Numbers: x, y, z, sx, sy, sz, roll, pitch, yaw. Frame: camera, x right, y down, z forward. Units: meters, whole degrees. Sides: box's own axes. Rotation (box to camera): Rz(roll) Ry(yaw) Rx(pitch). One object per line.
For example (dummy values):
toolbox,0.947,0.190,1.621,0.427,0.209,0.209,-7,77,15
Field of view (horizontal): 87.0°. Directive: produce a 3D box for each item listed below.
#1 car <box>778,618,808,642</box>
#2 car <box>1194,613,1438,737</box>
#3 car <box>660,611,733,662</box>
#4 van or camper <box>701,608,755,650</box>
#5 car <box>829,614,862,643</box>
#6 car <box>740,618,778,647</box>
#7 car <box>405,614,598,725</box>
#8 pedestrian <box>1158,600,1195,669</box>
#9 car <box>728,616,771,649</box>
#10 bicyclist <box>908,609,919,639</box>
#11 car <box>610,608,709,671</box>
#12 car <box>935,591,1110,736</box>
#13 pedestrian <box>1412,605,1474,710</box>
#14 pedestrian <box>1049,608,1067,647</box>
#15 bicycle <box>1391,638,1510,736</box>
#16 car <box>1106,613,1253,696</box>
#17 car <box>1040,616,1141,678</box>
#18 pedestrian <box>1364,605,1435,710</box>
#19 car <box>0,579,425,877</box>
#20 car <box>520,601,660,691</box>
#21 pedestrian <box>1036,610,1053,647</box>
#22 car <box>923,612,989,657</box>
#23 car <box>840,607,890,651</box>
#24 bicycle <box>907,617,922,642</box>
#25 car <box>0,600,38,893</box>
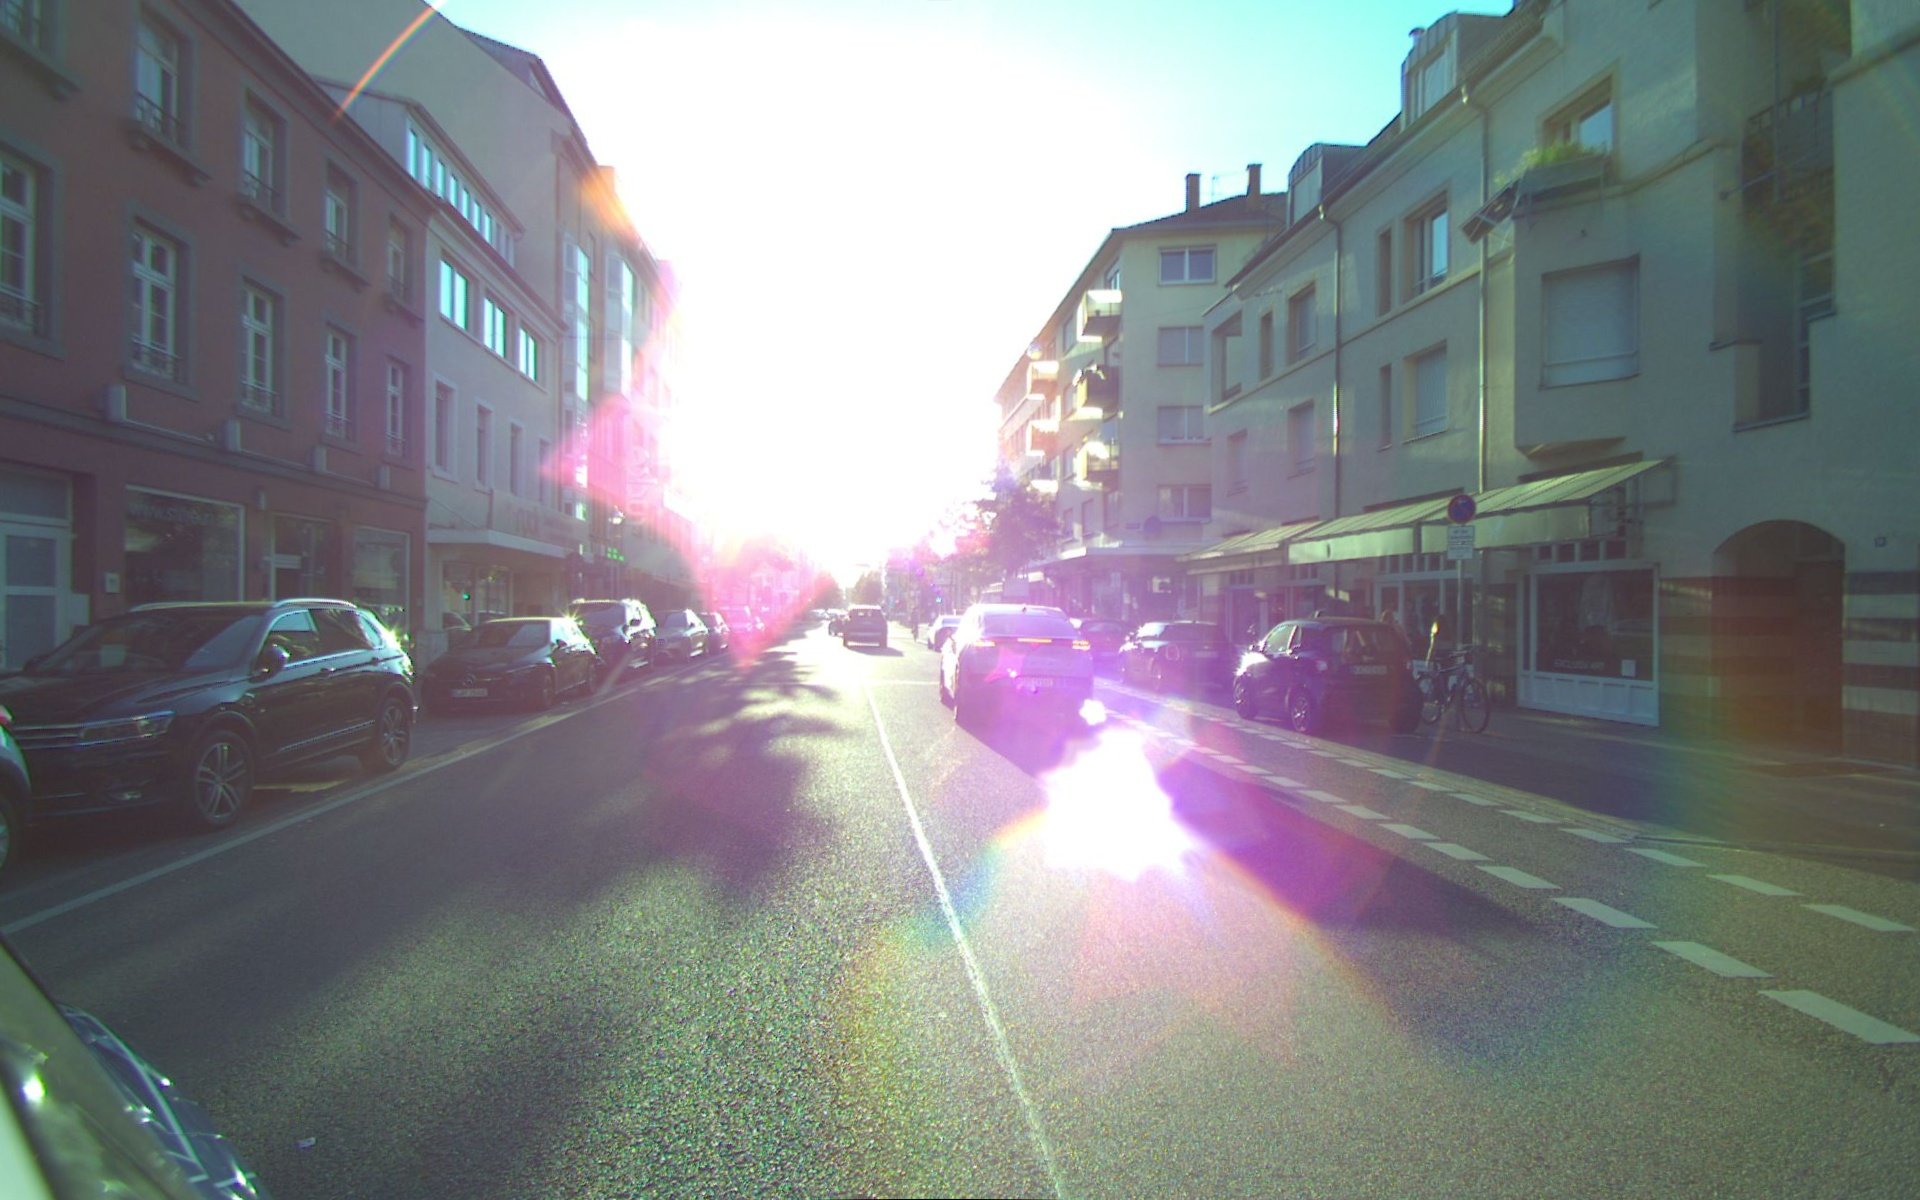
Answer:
car,-11.169,1.998,67.844,1.669,1.514,3.791,1,-1,-5
car,5.115,1.005,15.165,1.766,1.592,3.974,1,-1,-9
car,-9.227,1.246,35.737,1.968,1.667,4.487,1,-1,-8
van or camper,-10.291,1.249,45.164,1.766,1.787,4.563,1,-1,-5
car,-7.289,1.772,64.259,1.814,1.661,4.309,2,-1,-9
car,-11.084,1.774,56.104,1.669,1.514,3.791,1,-1,-5
car,-7.356,1.027,16.709,1.664,1.499,4.418,-2,0,-8
pedestrian,5.554,0.886,26.021,0.709,1.747,0.739,0,-1,-7
car,-10.484,1.592,50.583,1.669,1.514,3.791,1,-1,-5
bicyclist,-2.439,1.259,53.008,0.540,1.593,0.803,0,-1,-4
car,-8.672,1.077,29.605,1.969,1.667,4.634,-1,-1,-6
car,0.722,0.812,14.582,1.850,1.710,4.326,2,-1,-5
pedestrian,8.053,0.937,16.887,0.552,1.713,0.833,0,-1,-7
pedestrian,4.631,1.305,47.852,0.709,1.805,0.667,0,-1,-6
bicycle,6.769,1.161,14.082,0.551,1.215,1.979,1,-1,-4
car,4.522,1.073,21.430,1.766,1.592,3.794,1,-1,-9
car,3.549,1.249,28.166,1.766,1.592,3.794,1,-1,-9
pedestrian,7.396,0.938,17.071,0.622,1.713,1.042,0,-1,-7
car,-6.088,0.785,8.066,1.772,1.711,4.467,-2,0,-8
car,-8.208,0.949,22.971,1.968,1.790,5.329,-1,-1,-9
pedestrian,4.164,1.387,50.073,0.709,1.805,0.667,0,-1,-6
car,-0.216,1.327,39.767,1.968,1.617,4.412,2,-1,-8
car,-4.013,1.180,42.371,1.815,1.661,4.308,2,-1,-8
bicycle,-2.385,1.548,52.882,0.655,1.252,2.132,2,-1,-4
car,-5.851,0.793,3.715,1.641,1.585,3.940,-1,-1,-6
